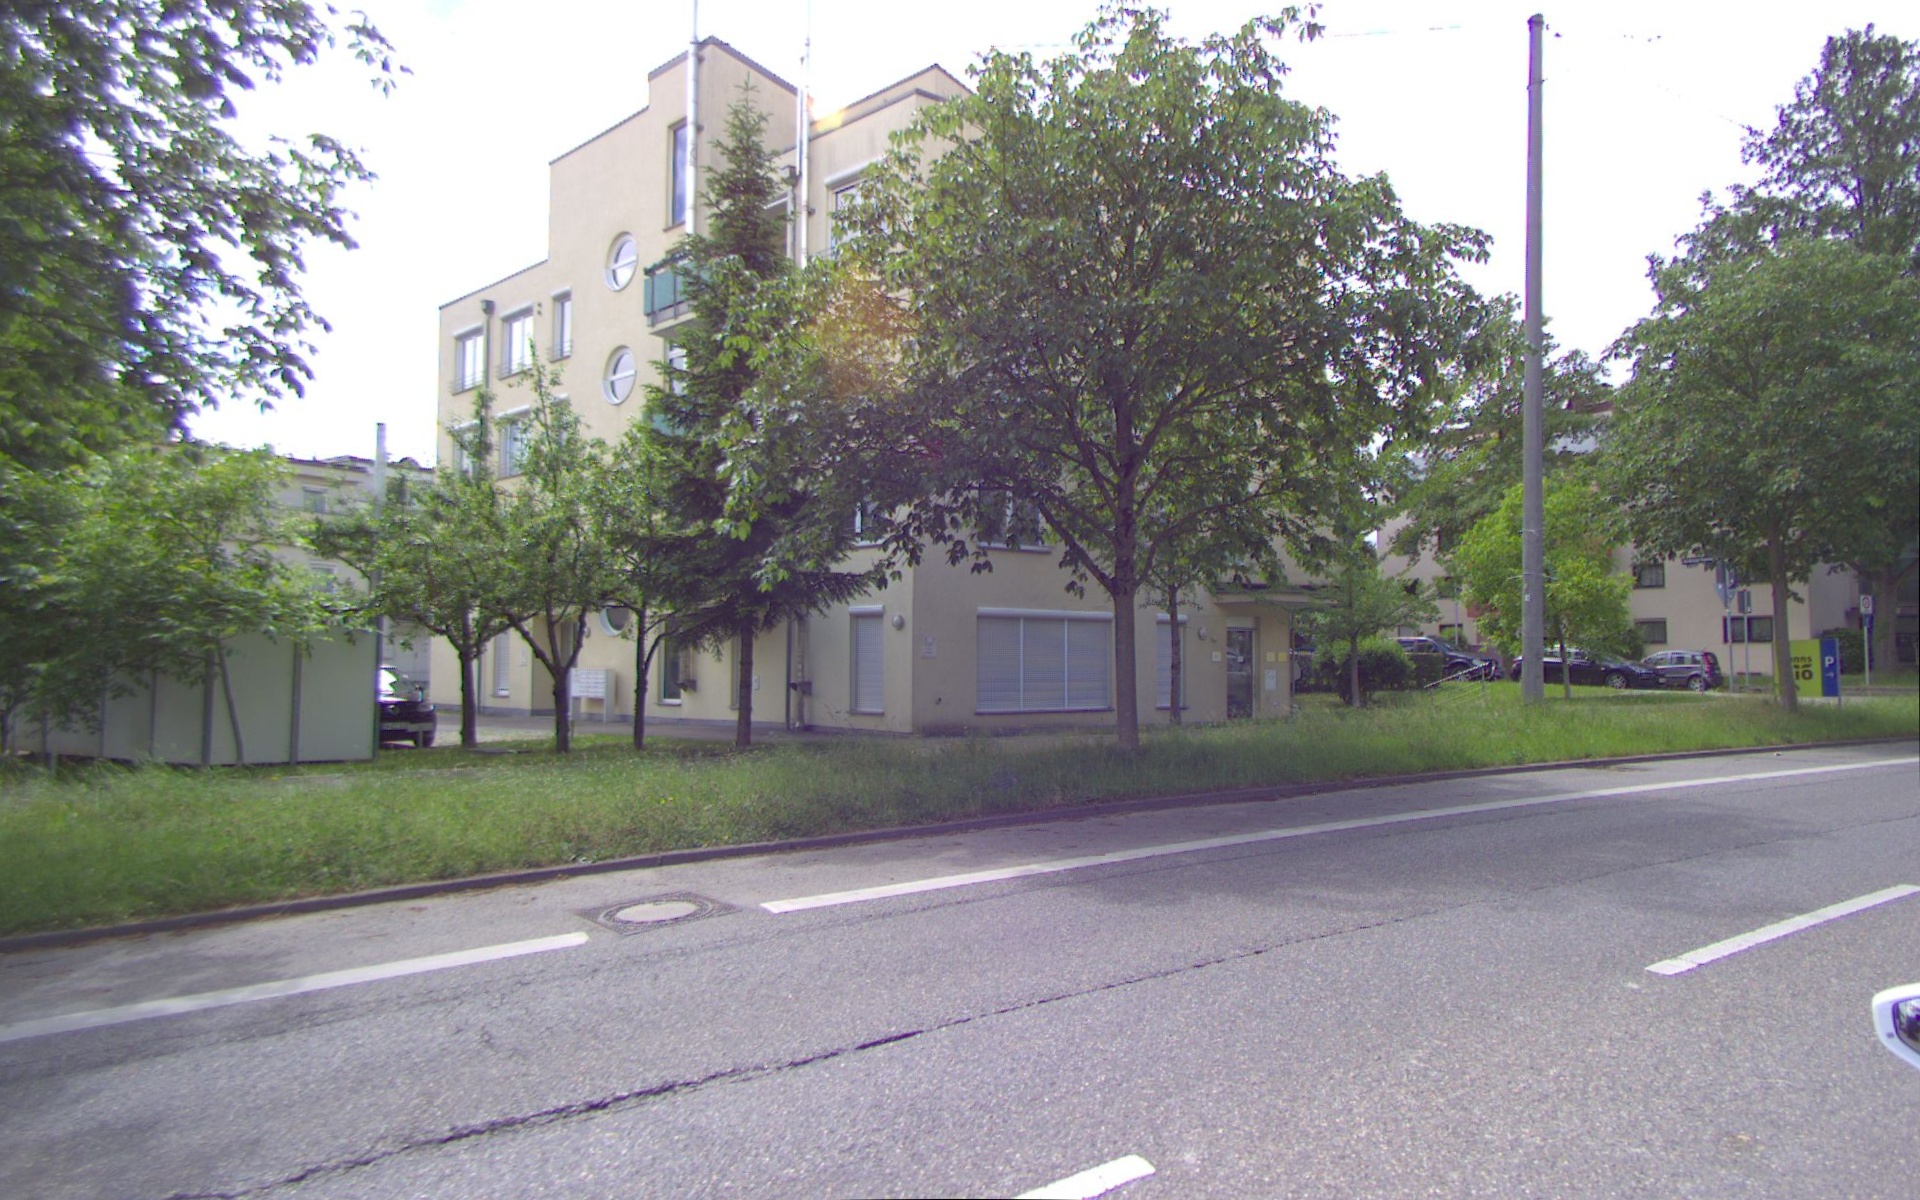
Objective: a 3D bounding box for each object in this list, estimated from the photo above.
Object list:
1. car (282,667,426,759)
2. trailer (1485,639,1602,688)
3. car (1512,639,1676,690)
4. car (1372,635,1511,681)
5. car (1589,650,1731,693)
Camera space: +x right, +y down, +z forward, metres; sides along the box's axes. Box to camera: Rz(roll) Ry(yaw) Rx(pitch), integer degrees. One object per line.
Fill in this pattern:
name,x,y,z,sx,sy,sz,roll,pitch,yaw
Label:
car,-10.815,1.951,17.842,1.423,1.469,3.353,3,-6,-45
trailer,24.148,2.609,41.665,1.616,1.821,3.880,6,-5,-35
car,20.014,2.024,31.871,1.777,1.417,4.053,6,-5,-33
car,17.293,2.083,36.267,1.881,1.543,4.151,2,-4,-34
car,26.450,2.689,38.054,1.777,1.417,4.053,6,-5,-33
